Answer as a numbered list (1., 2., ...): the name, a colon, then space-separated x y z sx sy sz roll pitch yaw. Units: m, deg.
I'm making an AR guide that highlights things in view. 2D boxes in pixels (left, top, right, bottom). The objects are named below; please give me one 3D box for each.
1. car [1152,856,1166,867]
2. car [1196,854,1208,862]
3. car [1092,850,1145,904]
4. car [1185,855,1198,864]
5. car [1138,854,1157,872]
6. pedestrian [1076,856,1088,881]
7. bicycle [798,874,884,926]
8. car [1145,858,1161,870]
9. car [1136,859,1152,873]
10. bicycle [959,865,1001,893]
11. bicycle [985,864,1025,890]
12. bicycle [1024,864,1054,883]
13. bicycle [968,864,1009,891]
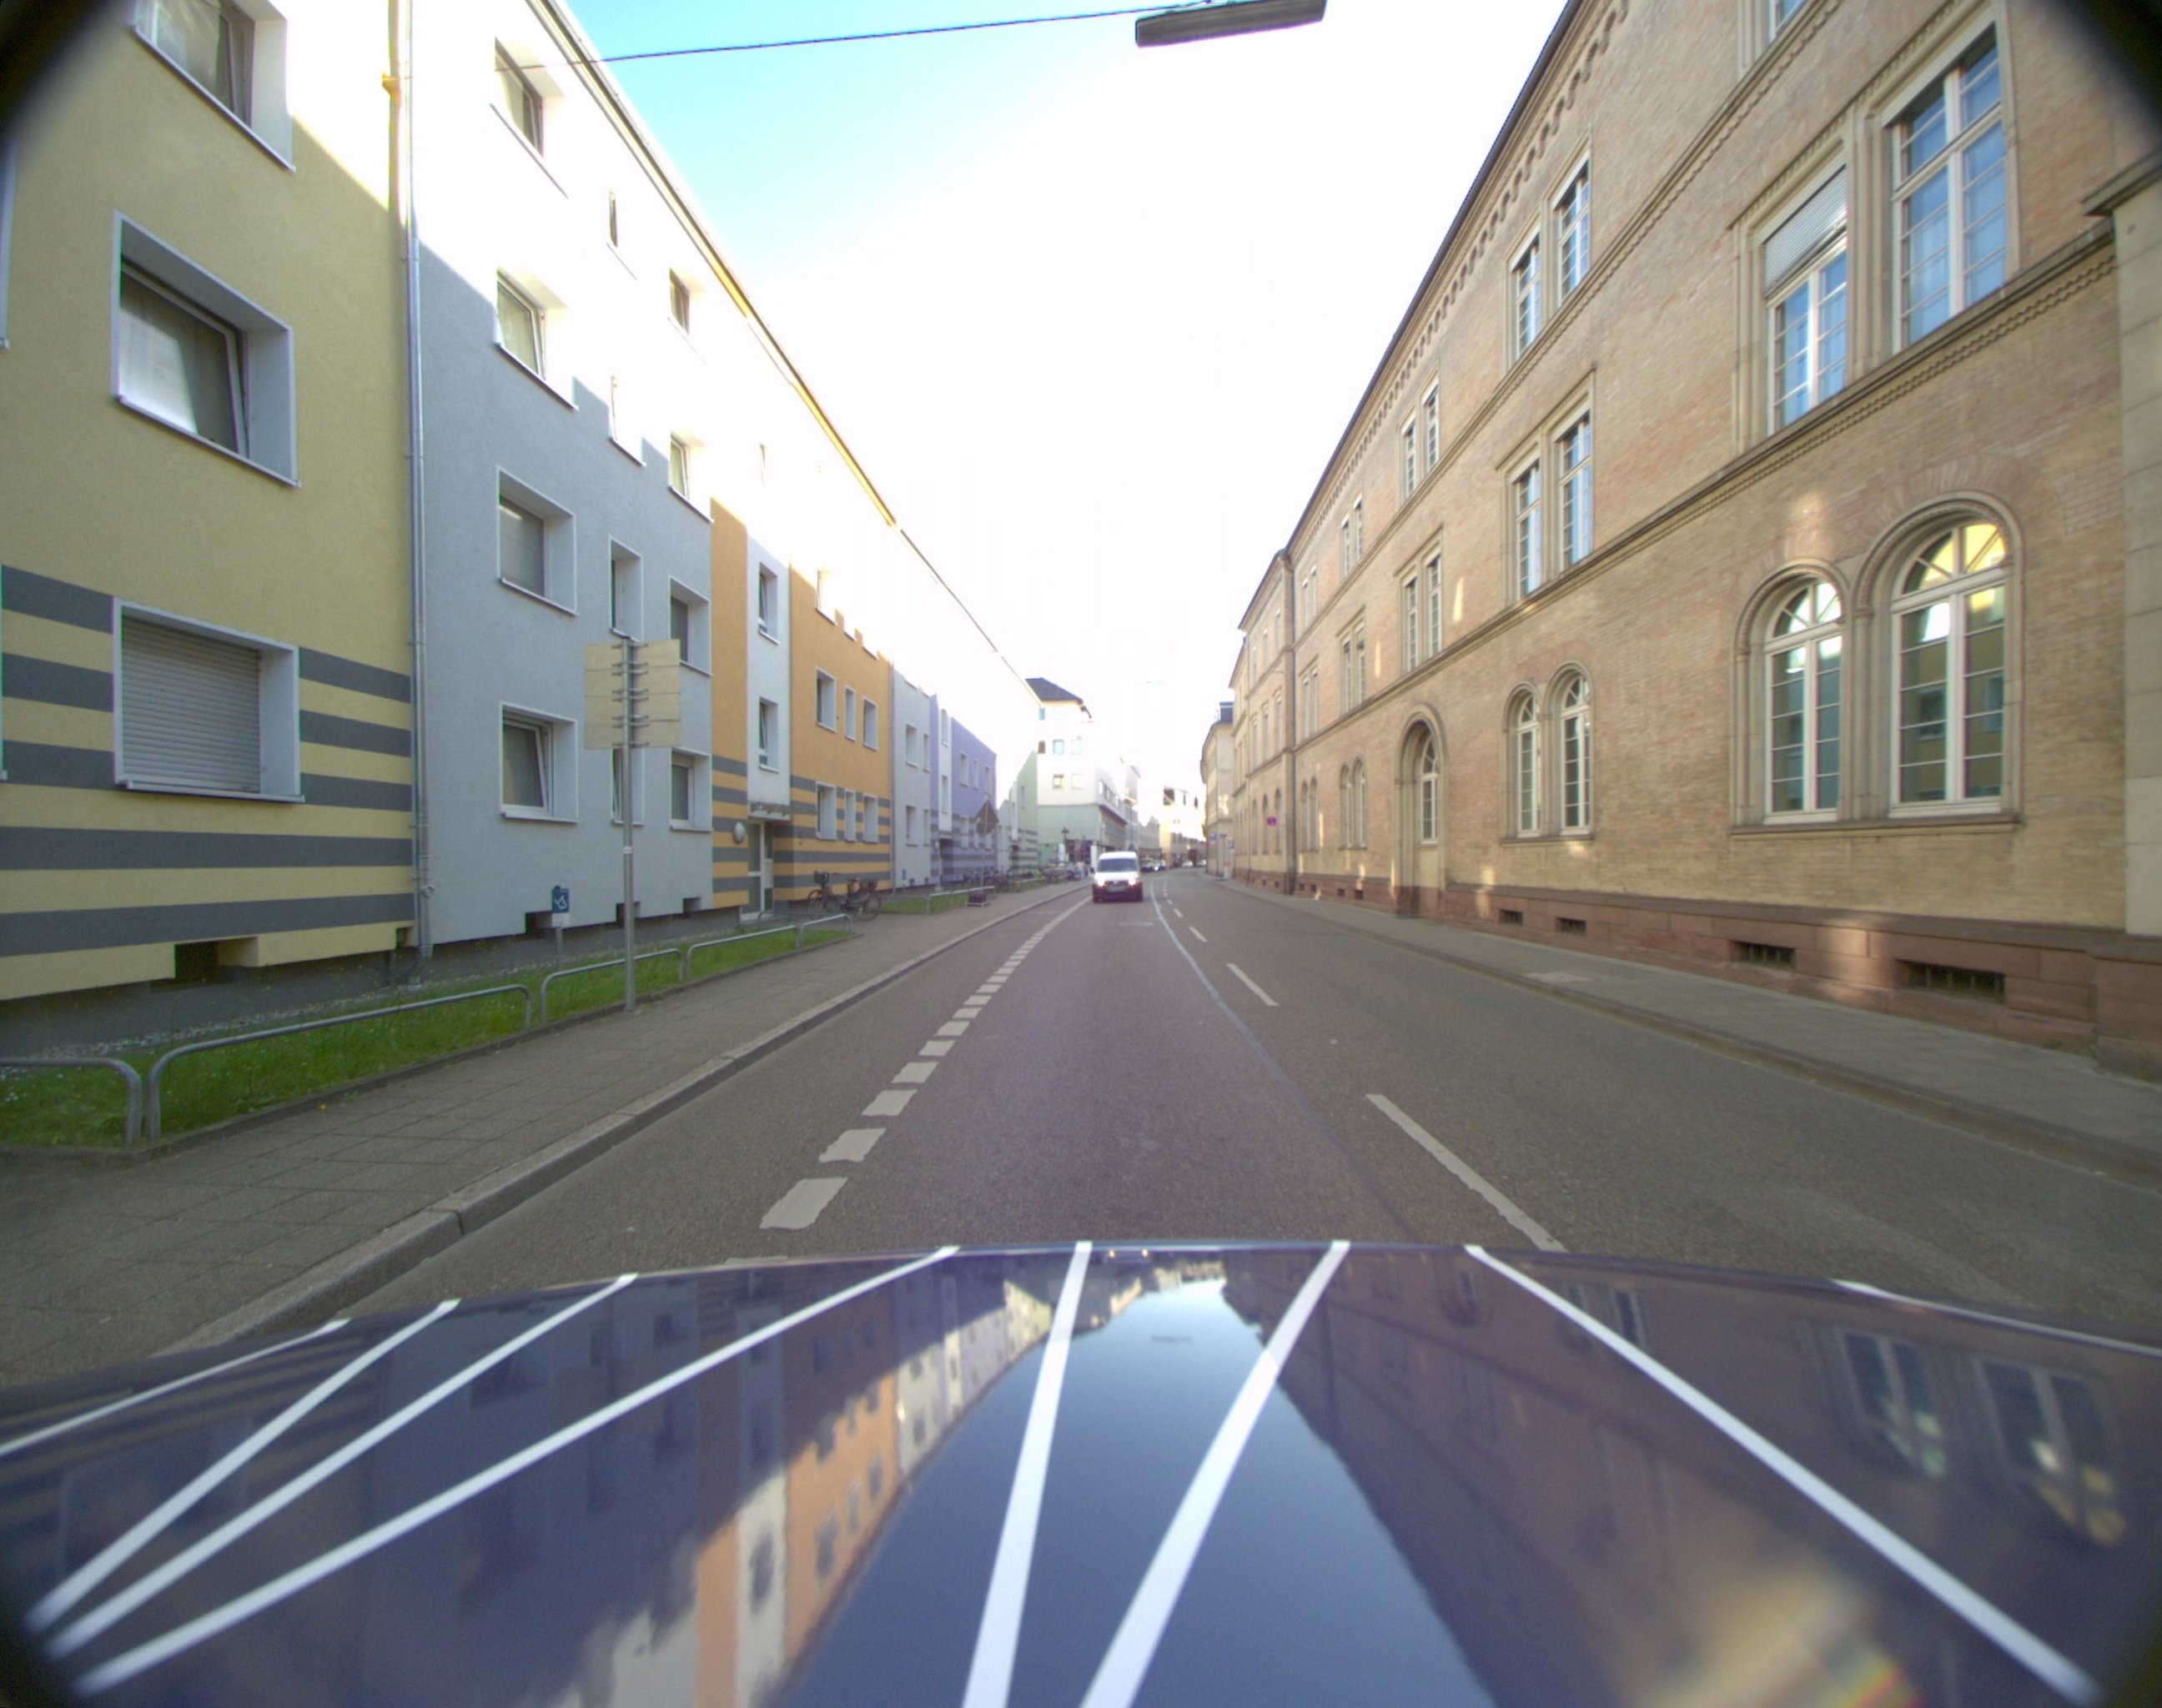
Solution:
1. car: 12.651 1.199 122.695 1.997 1.643 4.231 -2 1 9
2. car: 26.096 0.808 163.748 1.996 1.643 4.233 -2 1 17
3. car: 1.410 0.766 28.123 1.769 1.761 5.332 -1 1 3
4. car: 22.113 1.092 152.017 1.996 1.643 4.233 -2 1 17
5. car: 9.417 1.249 107.084 2.103 2.263 5.506 -2 1 11
6. pedestrian: 0.073 0.957 51.287 0.705 1.627 0.833 2 2 5
7. bicycle: -5.382 1.018 17.100 1.780 1.116 0.484 0 0 -5
8. car: 10.680 1.442 112.997 1.997 1.643 4.231 -2 1 10
9. car: 8.382 1.607 100.949 1.998 1.643 4.230 -2 1 6
10. bicycle: -4.233 1.051 31.836 1.676 1.145 0.484 0 0 4
11. bicycle: -3.369 1.007 33.675 1.676 1.145 0.484 0 0 4
12. bicycle: -2.513 1.158 46.047 1.779 1.145 0.484 0 0 0
13. bicycle: -4.028 1.024 33.130 1.676 1.145 0.484 0 0 4
